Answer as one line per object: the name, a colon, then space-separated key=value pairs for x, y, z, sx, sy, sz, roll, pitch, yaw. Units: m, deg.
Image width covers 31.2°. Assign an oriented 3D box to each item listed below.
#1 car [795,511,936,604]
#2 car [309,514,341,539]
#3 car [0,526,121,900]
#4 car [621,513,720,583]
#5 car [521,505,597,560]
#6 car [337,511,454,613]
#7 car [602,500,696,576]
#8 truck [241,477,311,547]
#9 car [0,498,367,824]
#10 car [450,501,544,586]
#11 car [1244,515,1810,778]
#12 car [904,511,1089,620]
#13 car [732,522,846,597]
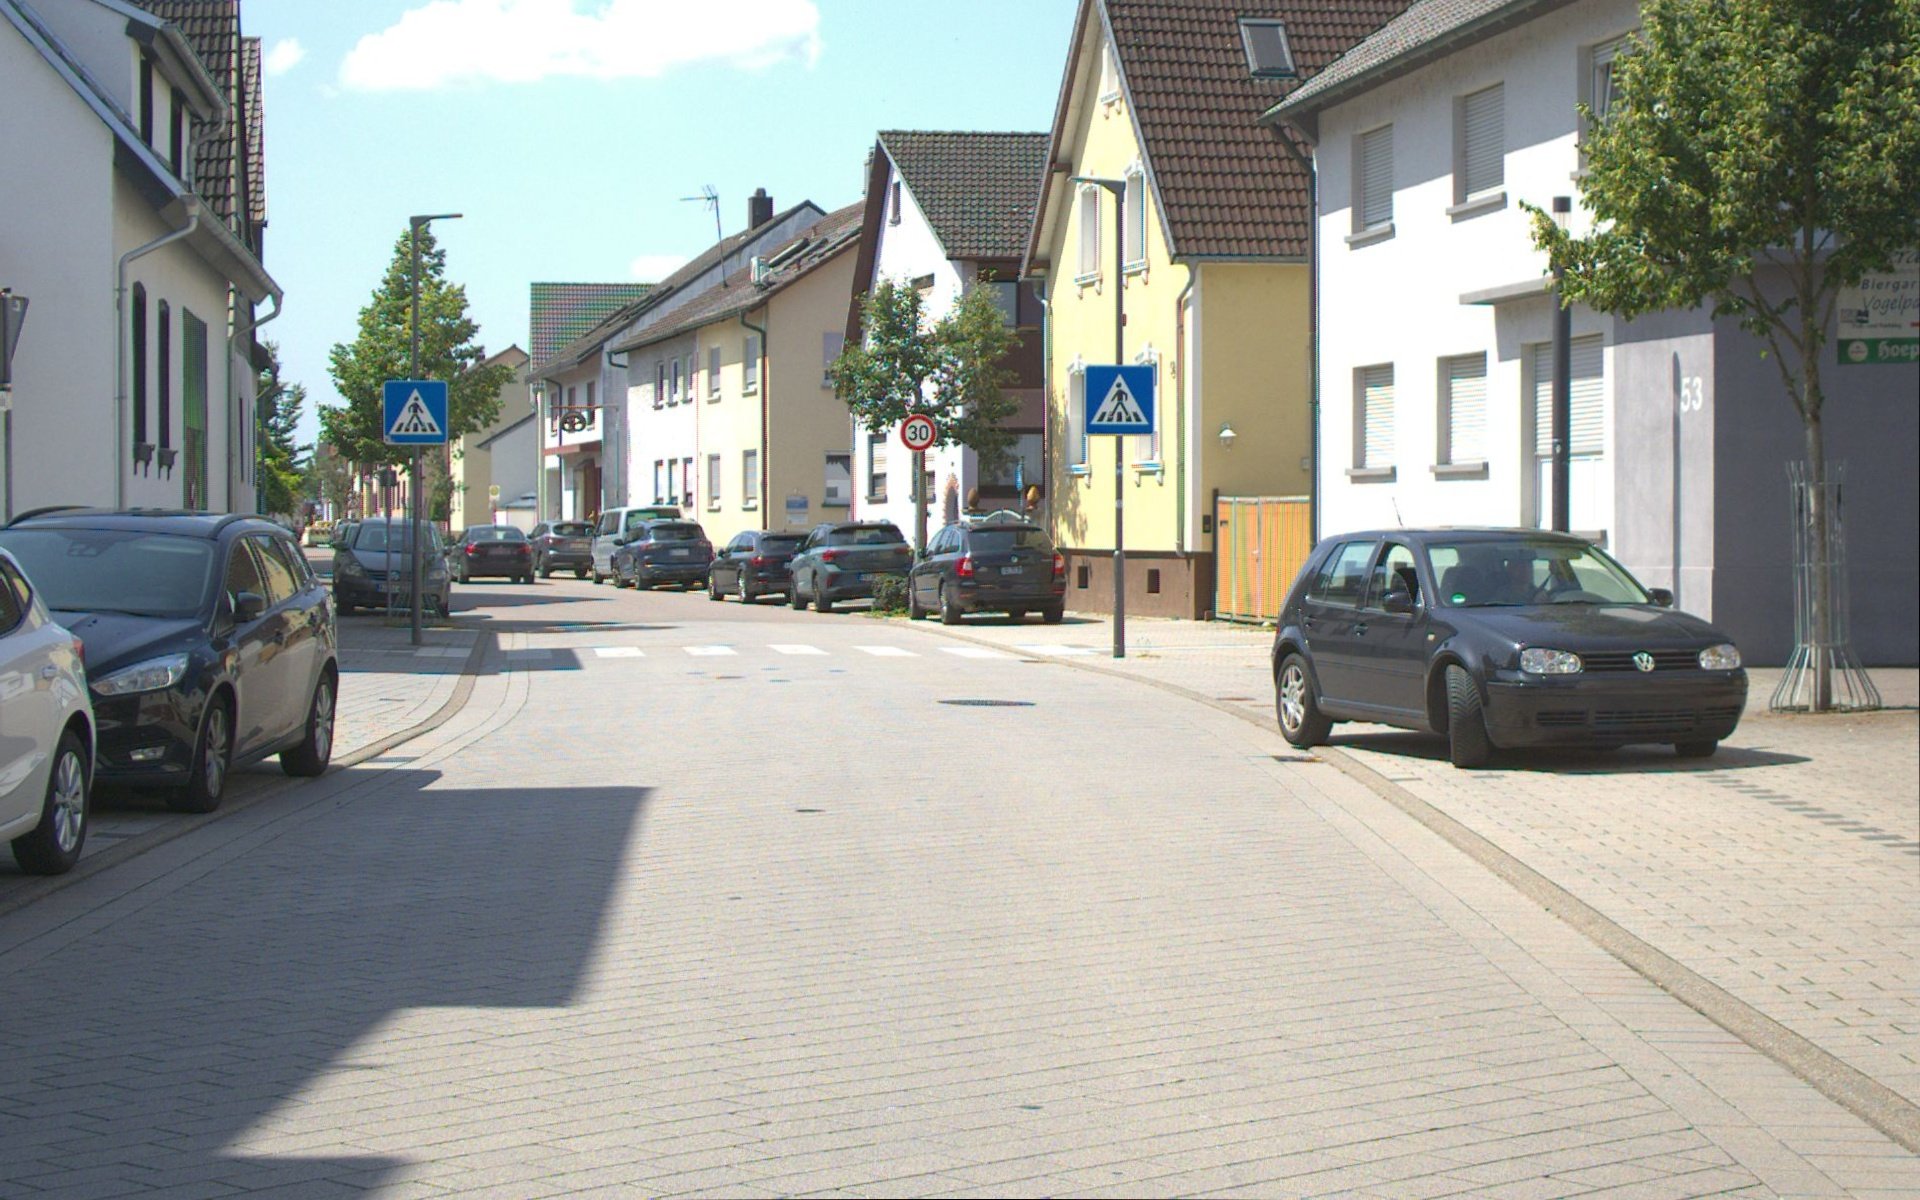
car: x=-1.682 y=-0.769 z=60.104 sx=1.846 sy=1.557 sz=3.695 roll=-1 pitch=2 yaw=-11
car: x=-38.022 y=-4.381 z=205.794 sx=1.687 sy=1.447 sz=3.794 roll=-1 pitch=2 yaw=-14
car: x=-4.550 y=0.430 z=12.949 sx=1.758 sy=1.406 sz=3.878 roll=2 pitch=2 yaw=1
car: x=-6.838 y=-1.241 z=80.980 sx=1.877 sy=1.585 sz=4.001 roll=-1 pitch=2 yaw=-11
car: x=-11.147 y=-1.885 z=95.334 sx=1.753 sy=1.487 sz=4.001 roll=-1 pitch=2 yaw=-11
car: x=-9.001 y=-0.631 z=55.019 sx=1.746 sy=1.525 sz=4.001 roll=1 pitch=1 yaw=-8
car: x=-7.867 y=-1.591 z=86.695 sx=1.906 sy=1.865 sz=4.001 roll=-1 pitch=2 yaw=-11
truck: x=-39.982 y=-5.151 z=200.696 sx=3.563 sy=3.940 sz=8.584 roll=-1 pitch=2 yaw=-14
car: x=-4.485 y=0.225 z=18.369 sx=1.813 sy=1.485 sz=4.277 roll=2 pitch=2 yaw=1
car: x=-11.591 y=-1.450 z=85.829 sx=1.993 sy=2.050 sz=4.375 roll=-1 pitch=2 yaw=-12
car: x=3.397 y=0.210 z=21.429 sx=1.759 sy=1.433 sz=4.121 roll=-2 pitch=2 yaw=-18
car: x=0.492 y=-0.538 z=50.731 sx=1.828 sy=1.466 sz=4.277 roll=-3 pitch=2 yaw=-11
car: x=-3.388 y=-0.817 z=67.656 sx=1.710 sy=1.382 sz=3.707 roll=-1 pitch=2 yaw=-11
